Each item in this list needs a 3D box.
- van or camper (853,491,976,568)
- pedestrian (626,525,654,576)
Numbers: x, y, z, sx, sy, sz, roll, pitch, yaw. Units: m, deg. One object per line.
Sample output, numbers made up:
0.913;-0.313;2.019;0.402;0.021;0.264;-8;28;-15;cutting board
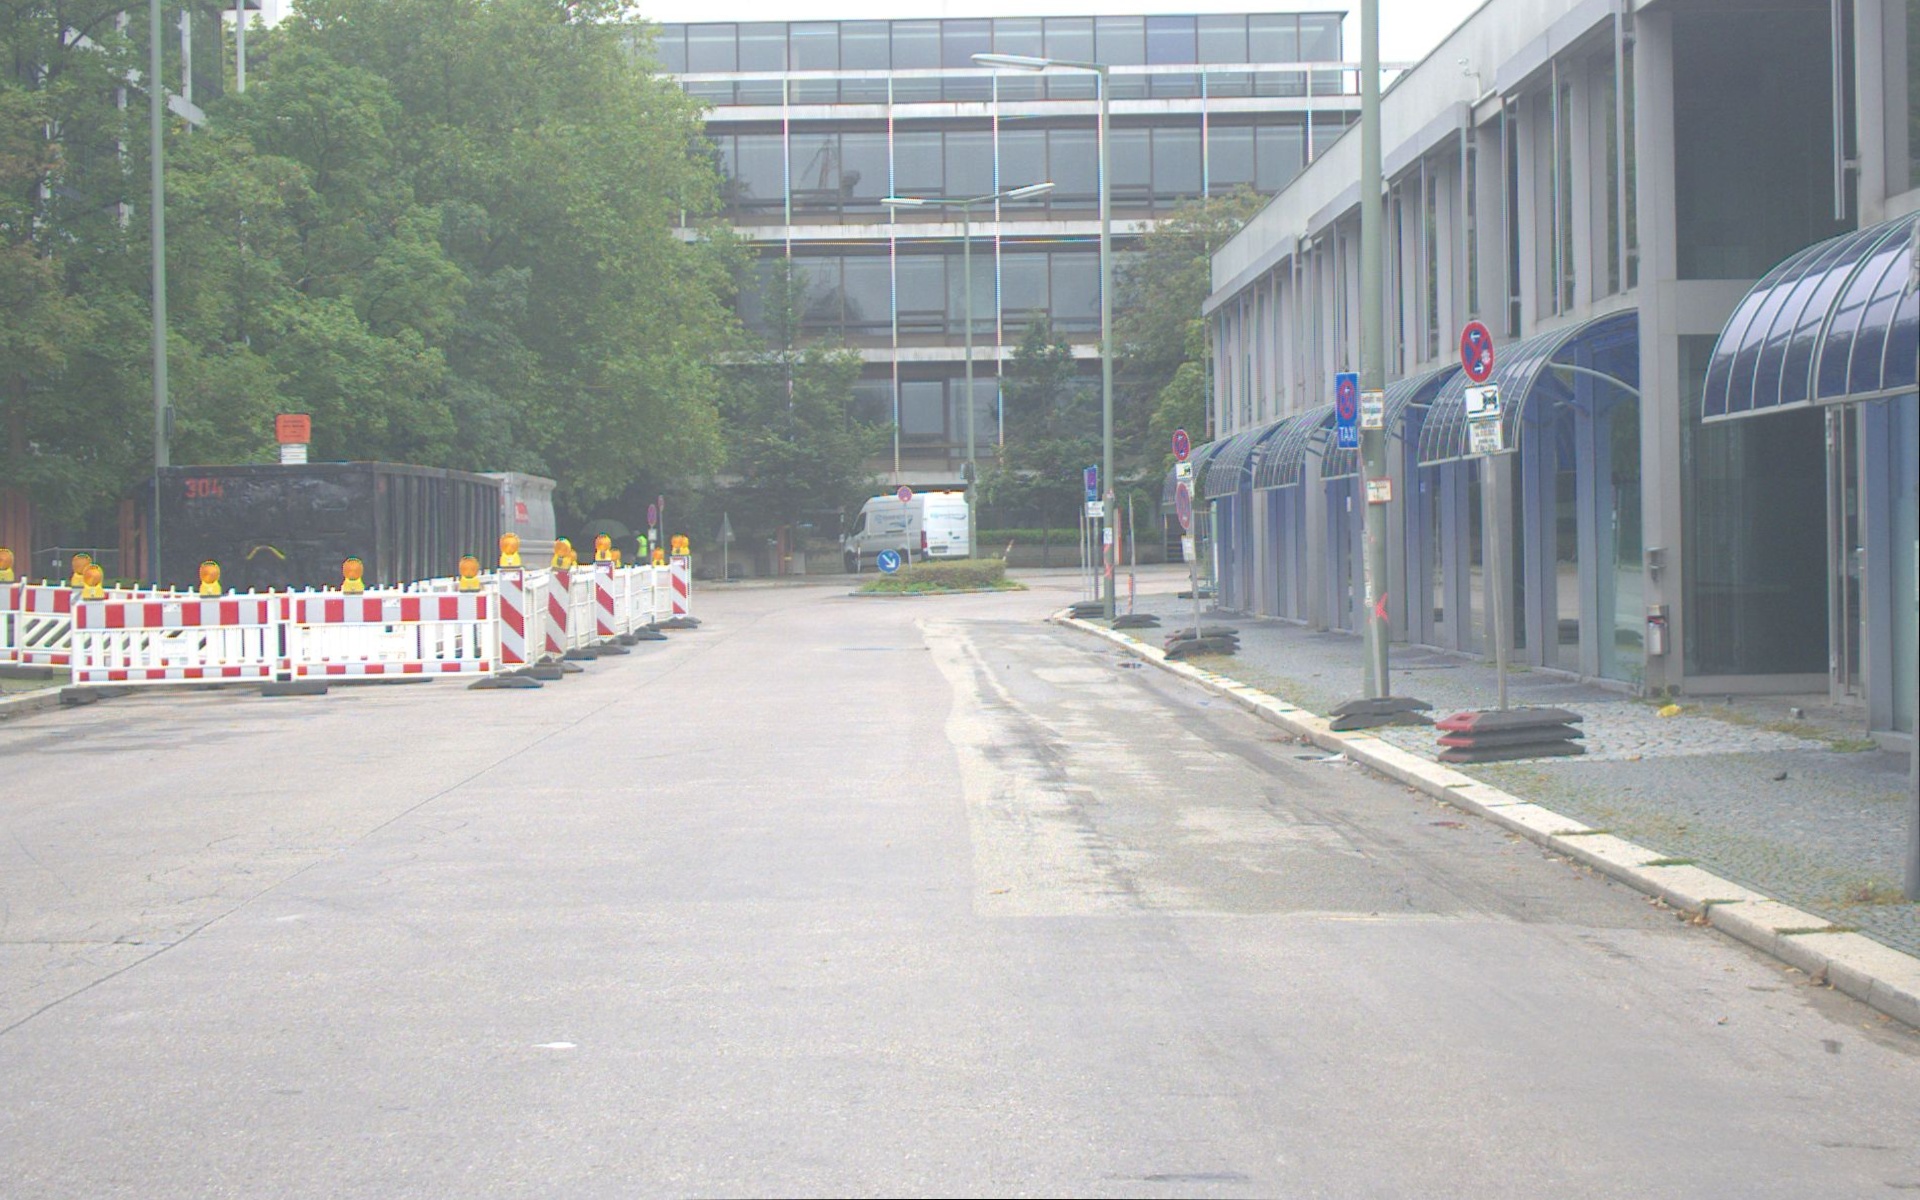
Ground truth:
-1.547;-2.333;114.418;2.085;2.483;5.068;-1;1;-26;van or camper
-10.539;-1.628;113.172;0.741;1.671;0.682;-1;1;-20;pedestrian
